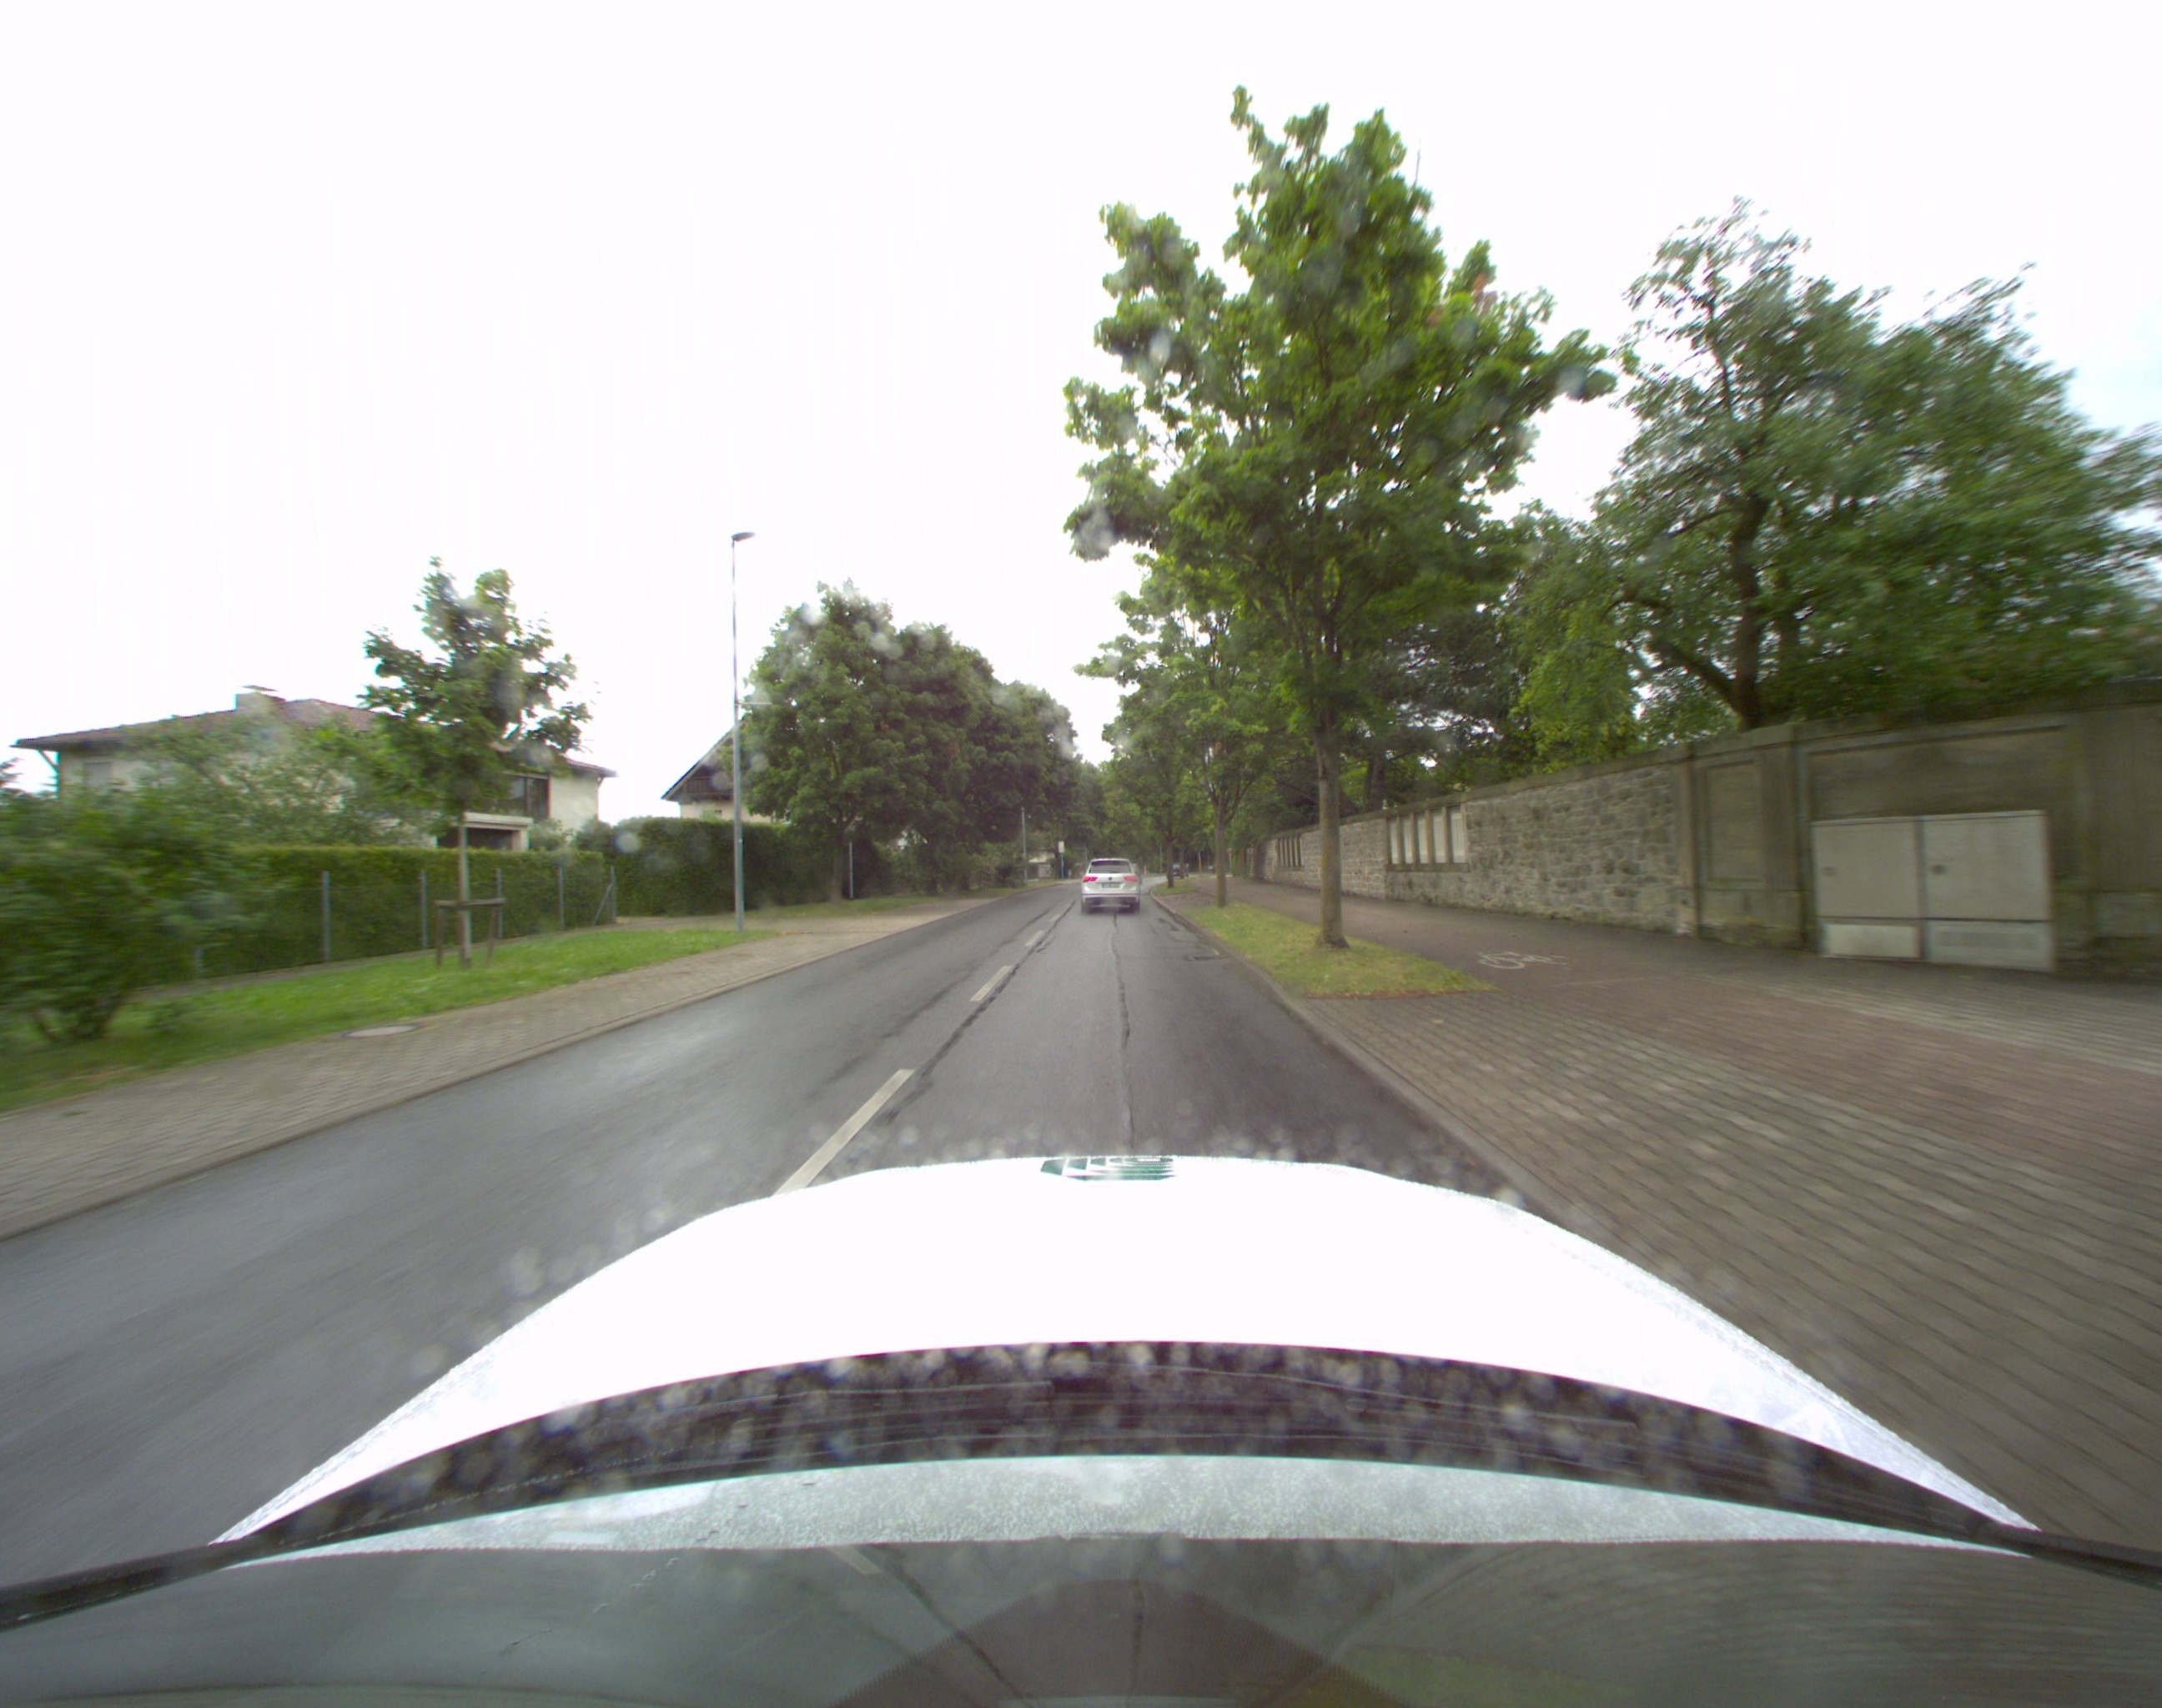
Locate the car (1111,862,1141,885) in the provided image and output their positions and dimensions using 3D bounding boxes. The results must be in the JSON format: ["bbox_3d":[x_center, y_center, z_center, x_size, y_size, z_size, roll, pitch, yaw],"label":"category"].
[{"bbox_3d":[3.172,1.378,56.865,1.831,1.487,4.006,-3,-2,6],"label":"car"}]

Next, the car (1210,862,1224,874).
[{"bbox_3d":[18.994,1.931,113.696,1.829,1.487,4.012,-4,-2,11],"label":"car"}]

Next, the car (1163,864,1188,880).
[{"bbox_3d":[9.257,1.709,79.599,1.826,1.487,4.017,1,-1,16],"label":"car"}]

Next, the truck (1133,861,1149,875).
[{"bbox_3d":[11.275,2.673,152.183,2.270,2.597,5.891,-2,-2,11],"label":"truck"}]

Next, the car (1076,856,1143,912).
[{"bbox_3d":[0.875,0.898,26.251,1.990,1.632,4.001,0,0,1],"label":"car"}]
